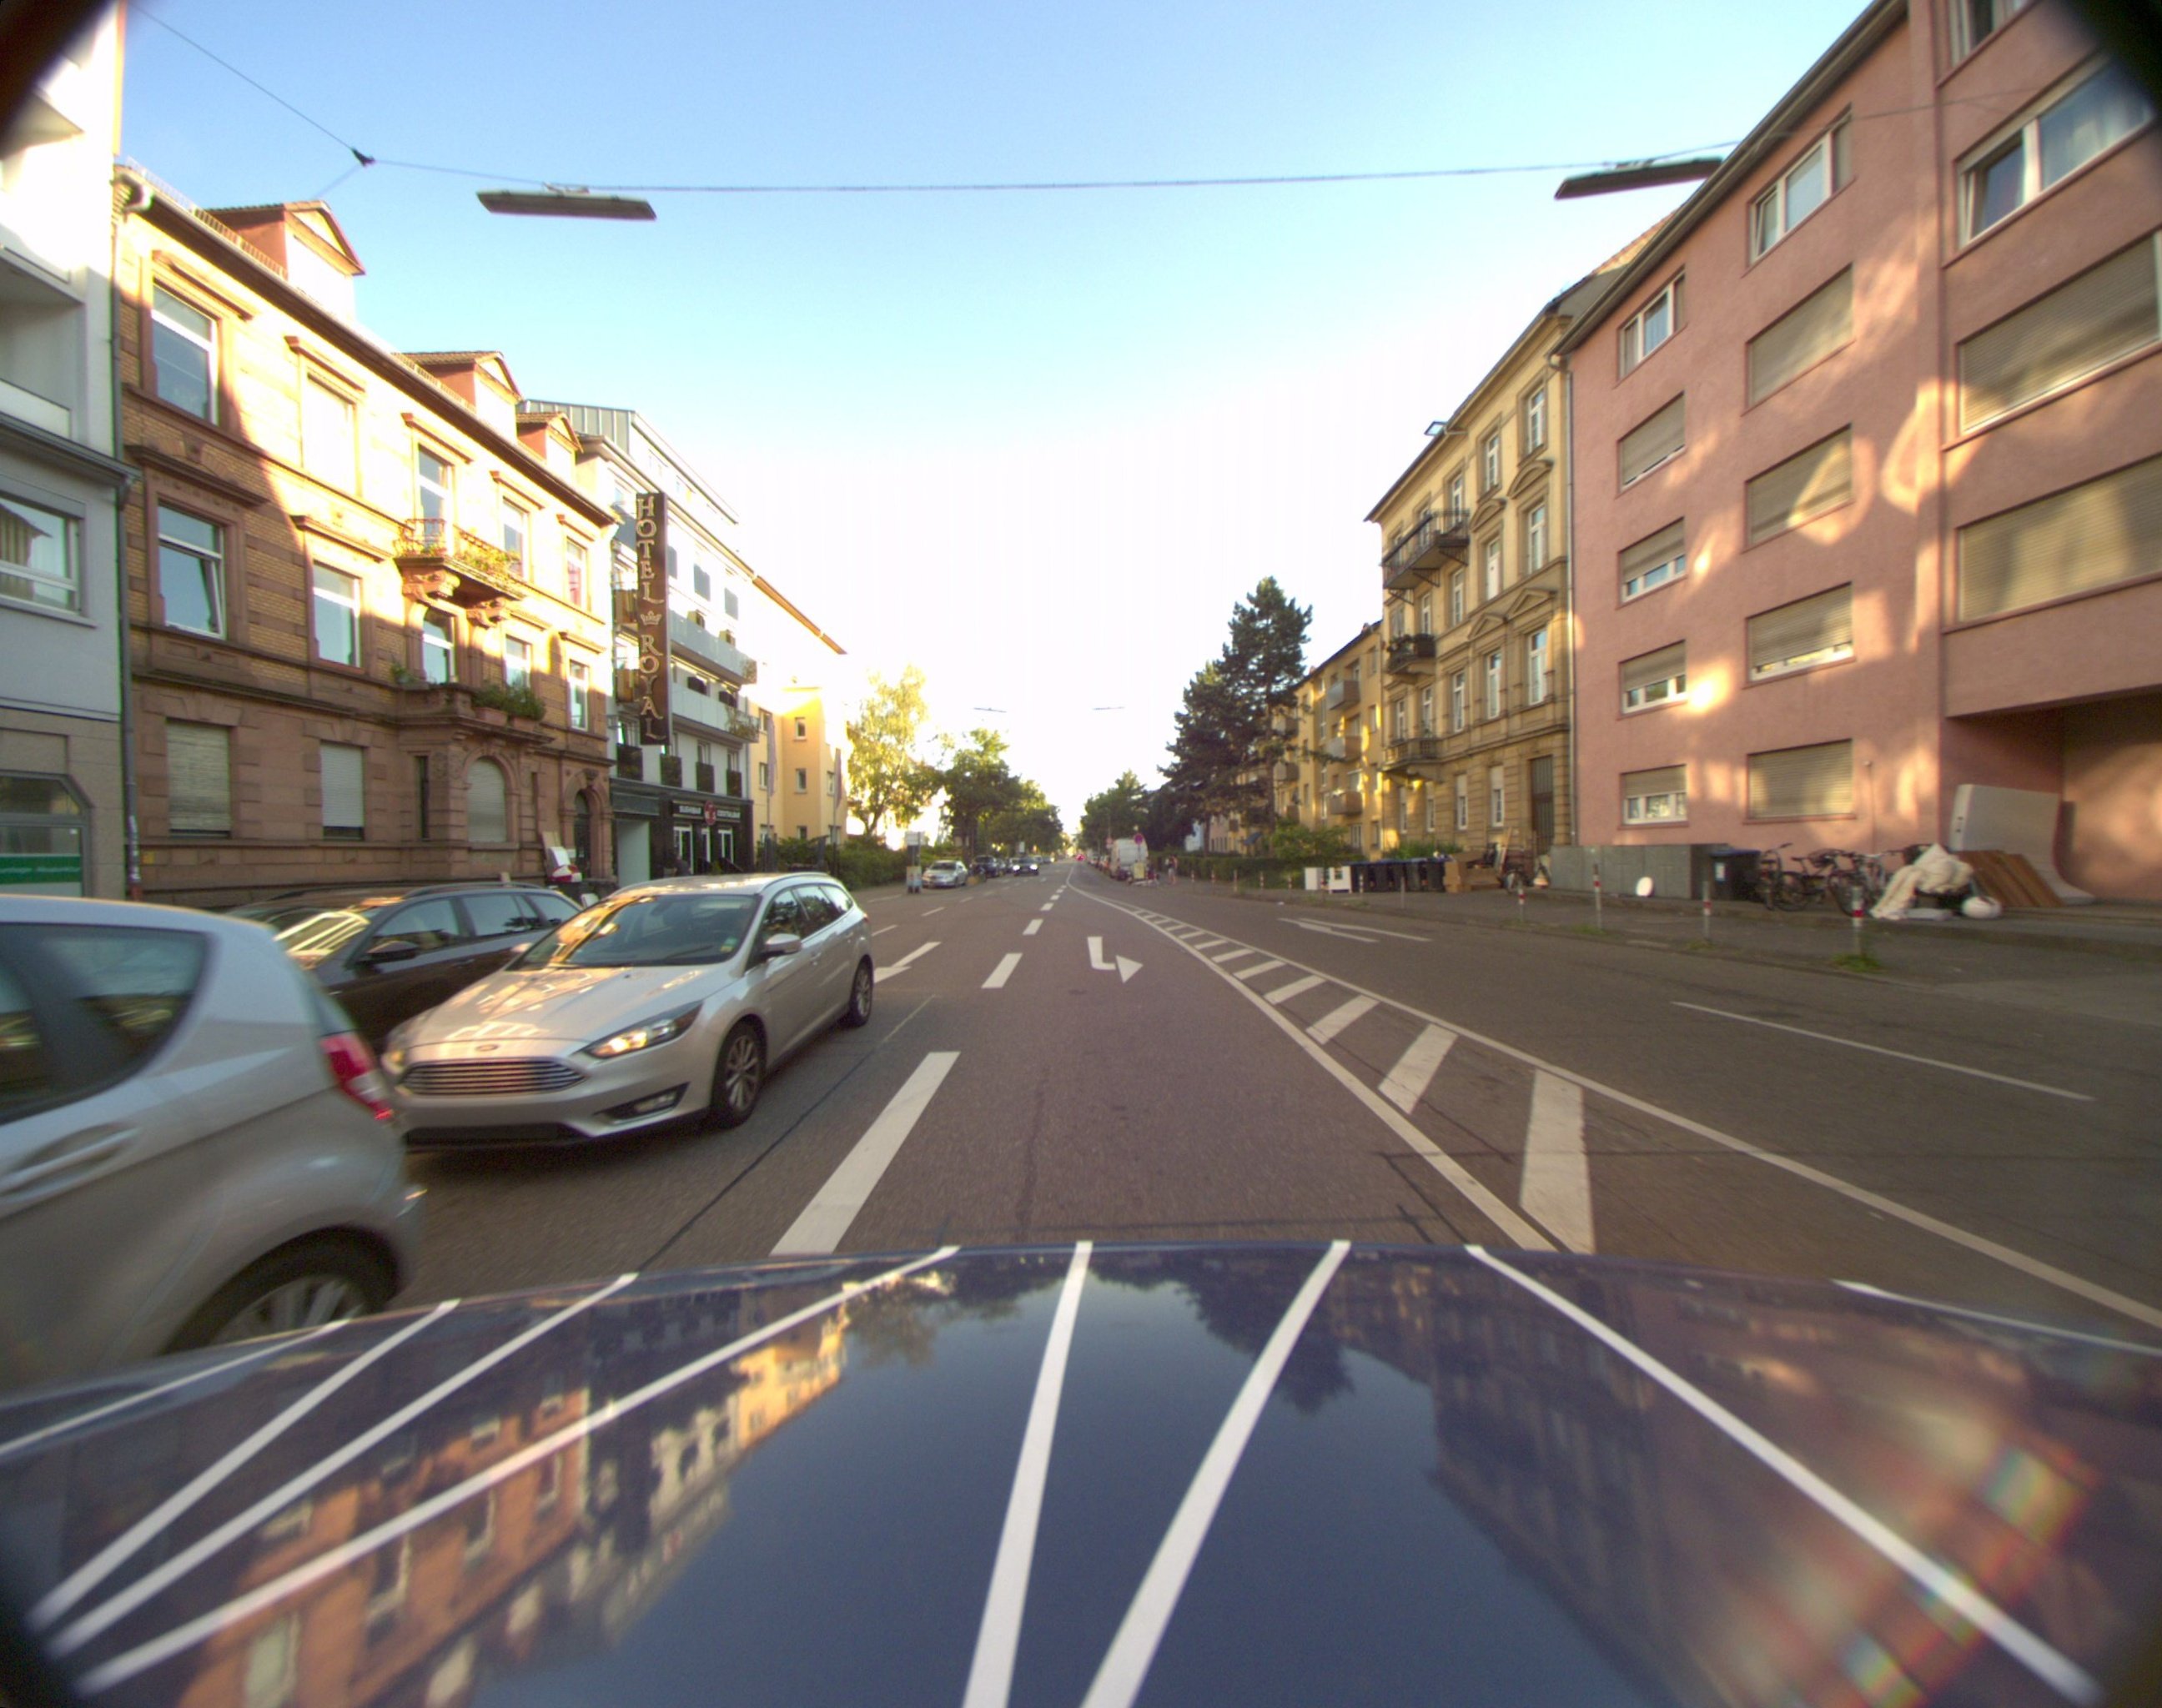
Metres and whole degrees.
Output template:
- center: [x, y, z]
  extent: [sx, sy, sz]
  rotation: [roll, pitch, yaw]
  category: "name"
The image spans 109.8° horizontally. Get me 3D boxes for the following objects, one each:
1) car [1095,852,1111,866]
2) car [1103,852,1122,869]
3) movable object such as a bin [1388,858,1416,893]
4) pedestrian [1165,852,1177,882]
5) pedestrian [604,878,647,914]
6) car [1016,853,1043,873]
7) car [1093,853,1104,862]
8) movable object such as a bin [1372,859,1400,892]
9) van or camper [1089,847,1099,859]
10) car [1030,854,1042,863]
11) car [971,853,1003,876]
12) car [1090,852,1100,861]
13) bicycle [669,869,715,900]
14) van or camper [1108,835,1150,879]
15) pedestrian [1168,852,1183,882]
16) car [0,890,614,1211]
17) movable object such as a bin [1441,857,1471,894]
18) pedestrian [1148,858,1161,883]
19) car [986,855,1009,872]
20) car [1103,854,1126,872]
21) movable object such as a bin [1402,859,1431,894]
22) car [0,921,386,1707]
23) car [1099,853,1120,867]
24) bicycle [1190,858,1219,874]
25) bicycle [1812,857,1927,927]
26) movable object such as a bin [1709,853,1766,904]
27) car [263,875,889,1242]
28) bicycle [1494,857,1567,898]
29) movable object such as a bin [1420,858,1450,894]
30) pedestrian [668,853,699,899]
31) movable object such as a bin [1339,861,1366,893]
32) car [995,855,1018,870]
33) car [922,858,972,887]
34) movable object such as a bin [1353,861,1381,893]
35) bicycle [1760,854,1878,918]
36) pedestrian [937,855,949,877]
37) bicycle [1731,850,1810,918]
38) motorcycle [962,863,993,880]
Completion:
- center: [2.751, 0.591, 93.900]
  extent: [1.842, 1.508, 4.315]
  rotation: [-2, 0, 1]
  category: "car"
- center: [3.152, 0.607, 76.505]
  extent: [1.781, 1.579, 4.185]
  rotation: [-2, 0, 0]
  category: "car"
- center: [10.806, 0.718, 25.571]
  extent: [0.643, 1.104, 0.582]
  rotation: [-4, 2, -30]
  category: "movable object such as a bin"
- center: [4.976, 0.734, 42.104]
  extent: [0.481, 1.642, 0.725]
  rotation: [0, 1, -6]
  category: "pedestrian"
- center: [-13.648, 1.253, 22.790]
  extent: [0.692, 1.037, 0.945]
  rotation: [-1, 0, 3]
  category: "pedestrian"
- center: [-4.215, 0.733, 62.255]
  extent: [1.999, 1.525, 3.999]
  rotation: [-1, 0, -2]
  category: "car"
- center: [2.772, 0.553, 121.924]
  extent: [1.684, 1.434, 3.881]
  rotation: [-2, 0, 1]
  category: "car"
- center: [10.482, 0.736, 26.133]
  extent: [0.643, 1.104, 0.582]
  rotation: [-4, 2, -30]
  category: "movable object such as a bin"
- center: [2.763, -0.173, 160.178]
  extent: [1.917, 2.528, 5.334]
  rotation: [-1, 0, 0]
  category: "van or camper"
- center: [-7.377, 0.717, 124.060]
  extent: [1.739, 1.435, 4.339]
  rotation: [0, 0, -1]
  category: "car"
- center: [-7.233, 0.749, 58.772]
  extent: [1.953, 1.645, 4.795]
  rotation: [-1, 0, -1]
  category: "car"
- center: [2.657, 0.478, 146.284]
  extent: [1.808, 1.489, 3.956]
  rotation: [-2, 0, 1]
  category: "car"
- center: [-14.268, 1.108, 27.893]
  extent: [1.427, 1.104, 0.488]
  rotation: [1, 0, -17]
  category: "bicycle"
- center: [3.185, 0.179, 51.301]
  extent: [2.041, 2.648, 6.014]
  rotation: [-3, 0, -3]
  category: "van or camper"
- center: [5.140, 0.703, 41.375]
  extent: [0.606, 1.642, 0.696]
  rotation: [-1, 1, -6]
  category: "pedestrian"
- center: [-5.845, 1.121, 5.996]
  extent: [1.712, 1.449, 4.158]
  rotation: [-1, 0, 0]
  category: "car"
- center: [11.816, 0.673, 23.947]
  extent: [0.643, 1.104, 0.582]
  rotation: [-4, 2, -30]
  category: "movable object such as a bin"
- center: [4.099, 0.898, 42.417]
  extent: [0.560, 1.370, 0.480]
  rotation: [-3, 1, -5]
  category: "pedestrian"
- center: [-7.413, 0.843, 67.594]
  extent: [1.721, 1.463, 4.430]
  rotation: [0, 0, -2]
  category: "car"
- center: [2.869, 0.723, 65.315]
  extent: [1.721, 1.443, 3.923]
  rotation: [-2, 0, 0]
  category: "car"
- center: [11.016, 0.733, 24.937]
  extent: [0.643, 1.104, 0.582]
  rotation: [-4, 2, -30]
  category: "movable object such as a bin"
- center: [-2.897, 0.988, 0.359]
  extent: [1.808, 1.559, 3.618]
  rotation: [-1, 0, -1]
  category: "car"
- center: [3.058, 0.613, 81.500]
  extent: [1.999, 1.439, 4.457]
  rotation: [-1, 0, -1]
  category: "car"
- center: [8.086, 0.765, 49.823]
  extent: [1.763, 0.976, 0.590]
  rotation: [-2, 1, 1]
  category: "bicycle"
- center: [13.020, 0.602, 12.548]
  extent: [1.676, 1.035, 0.549]
  rotation: [-2, 1, -14]
  category: "bicycle"
- center: [13.670, 0.497, 15.828]
  extent: [0.676, 1.026, 0.589]
  rotation: [-1, 1, 0]
  category: "movable object such as a bin"
- center: [-2.861, 1.003, 5.644]
  extent: [1.712, 1.501, 4.308]
  rotation: [-2, 0, 0]
  category: "car"
- center: [12.879, 0.671, 21.795]
  extent: [1.653, 0.961, 0.662]
  rotation: [-6, 1, -2]
  category: "bicycle"
- center: [11.393, 0.696, 24.461]
  extent: [0.643, 1.104, 0.582]
  rotation: [-4, 2, -30]
  category: "movable object such as a bin"
- center: [-14.358, 0.800, 27.478]
  extent: [0.709, 1.634, 0.693]
  rotation: [-1, 1, -1]
  category: "pedestrian"
- center: [9.765, 0.815, 27.324]
  extent: [0.643, 1.077, 0.582]
  rotation: [-4, 2, -30]
  category: "movable object such as a bin"
- center: [-7.269, 0.815, 74.399]
  extent: [1.775, 1.440, 4.484]
  rotation: [0, 0, 0]
  category: "car"
- center: [-7.455, 0.981, 42.747]
  extent: [1.860, 1.503, 4.834]
  rotation: [0, 0, 2]
  category: "car"
- center: [10.052, 0.789, 26.721]
  extent: [0.643, 1.062, 0.626]
  rotation: [-4, 2, -30]
  category: "movable object such as a bin"
- center: [12.979, 0.550, 13.376]
  extent: [1.675, 1.035, 0.549]
  rotation: [-2, 1, -7]
  category: "bicycle"
- center: [-10.207, 0.884, 56.321]
  extent: [0.748, 1.606, 0.579]
  rotation: [-1, 1, -2]
  category: "pedestrian"
- center: [12.881, 0.536, 14.181]
  extent: [1.677, 1.153, 0.495]
  rotation: [-3, 1, -26]
  category: "bicycle"
- center: [-6.886, 1.174, 50.429]
  extent: [1.932, 1.065, 0.819]
  rotation: [-1, 1, -12]
  category: "motorcycle"
